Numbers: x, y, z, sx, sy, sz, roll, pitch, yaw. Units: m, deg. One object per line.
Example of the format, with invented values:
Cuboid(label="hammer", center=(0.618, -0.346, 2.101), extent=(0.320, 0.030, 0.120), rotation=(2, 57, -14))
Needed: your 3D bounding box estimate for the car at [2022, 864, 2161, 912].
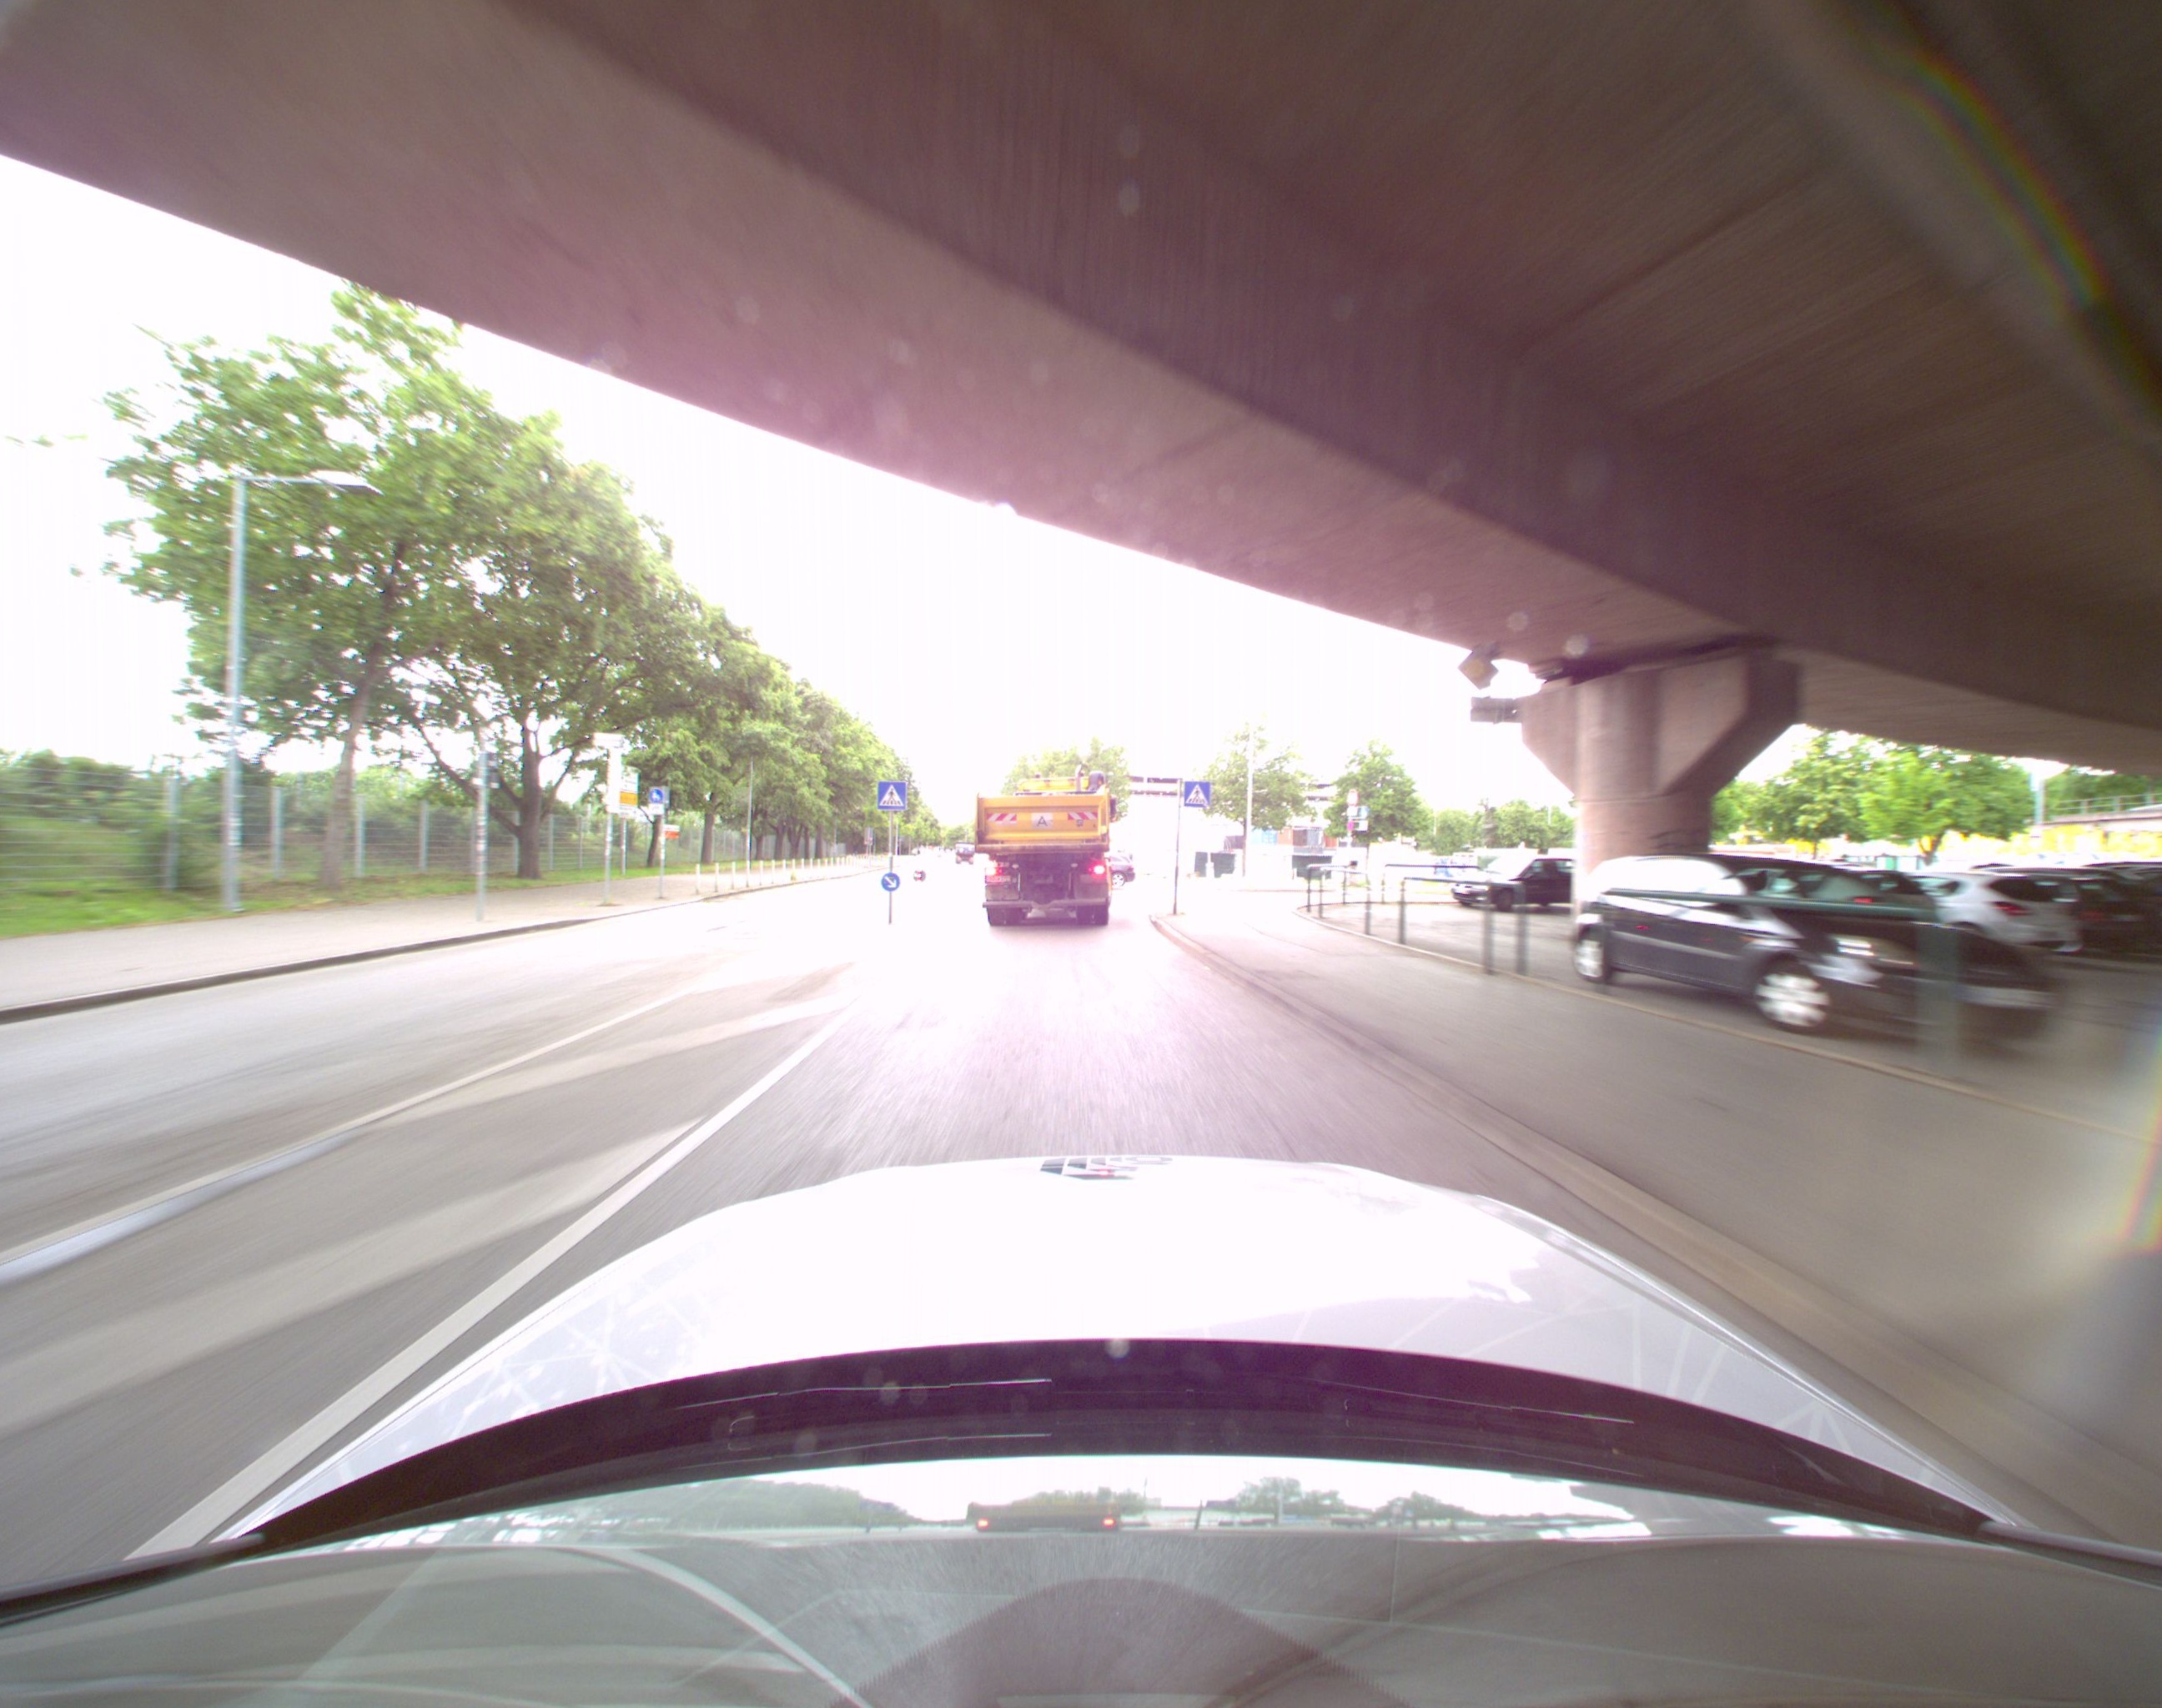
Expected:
Cuboid(label="car", center=(32.513, 1.082, 26.137), extent=(3.367, 1.440, 1.573), rotation=(1, 0, -11))

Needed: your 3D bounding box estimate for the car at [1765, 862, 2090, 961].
Cuboid(label="car", center=(15.319, 0.940, 15.043), extent=(1.697, 1.509, 3.840), rotation=(1, 0, -17))

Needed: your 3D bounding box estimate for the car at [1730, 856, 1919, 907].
Cuboid(label="car", center=(20.996, 0.773, 23.033), extent=(4.363, 1.321, 1.765), rotation=(1, 0, -12))

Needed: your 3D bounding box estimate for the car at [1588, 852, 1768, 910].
Cuboid(label="car", center=(16.055, 0.684, 21.940), extent=(4.238, 1.420, 1.504), rotation=(0, 2, -13))

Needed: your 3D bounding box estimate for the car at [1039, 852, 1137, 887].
Cuboid(label="car", center=(0.356, 0.705, 38.477), extent=(4.519, 1.574, 1.846), rotation=(0, 0, 1))

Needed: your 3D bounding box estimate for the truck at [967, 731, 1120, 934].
Cuboid(label="truck", center=(-0.580, -0.368, 19.094), extent=(2.747, 3.698, 7.883), rotation=(-2, -1, 2))

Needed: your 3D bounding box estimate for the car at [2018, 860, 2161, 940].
Cuboid(label="car", center=(22.195, 0.927, 16.510), extent=(1.756, 1.555, 3.840), rotation=(1, 0, -17))

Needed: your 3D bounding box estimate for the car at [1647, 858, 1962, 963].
Cuboid(label="car", center=(12.574, 0.881, 14.530), extent=(1.636, 1.552, 3.993), rotation=(1, 0, -13))

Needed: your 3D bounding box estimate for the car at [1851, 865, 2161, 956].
Cuboid(label="car", center=(17.791, 0.983, 15.795), extent=(1.697, 1.443, 3.840), rotation=(1, 0, -17))

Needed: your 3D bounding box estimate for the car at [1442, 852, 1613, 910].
Cuboid(label="car", center=(11.308, 0.666, 20.684), extent=(3.688, 1.329, 1.505), rotation=(1, 1, -11))

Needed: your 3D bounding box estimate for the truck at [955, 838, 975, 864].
Cuboid(label="truck", center=(-16.965, -0.374, 118.740), extent=(2.673, 3.558, 7.897), rotation=(-1, -1, -9))

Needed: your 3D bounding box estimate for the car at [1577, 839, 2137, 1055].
Cuboid(label="car", center=(6.355, 0.619, 7.312), extent=(1.601, 1.397, 3.579), rotation=(2, 0, 0))

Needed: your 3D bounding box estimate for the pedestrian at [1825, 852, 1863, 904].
Cuboid(label="pedestrian", center=(28.849, 0.895, 30.798), extent=(0.823, 1.907, 0.734), rotation=(1, -1, -14))

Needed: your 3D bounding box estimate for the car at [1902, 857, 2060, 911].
Cuboid(label="car", center=(27.626, 0.908, 25.027), extent=(4.063, 1.535, 1.609), rotation=(1, 0, -15))

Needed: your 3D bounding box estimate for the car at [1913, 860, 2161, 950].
Cuboid(label="car", center=(19.596, 0.926, 16.265), extent=(1.697, 1.555, 3.840), rotation=(1, 0, -17))

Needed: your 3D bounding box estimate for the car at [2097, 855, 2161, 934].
Cuboid(label="car", center=(24.205, 0.886, 16.712), extent=(1.756, 1.694, 3.840), rotation=(1, 0, -17))
